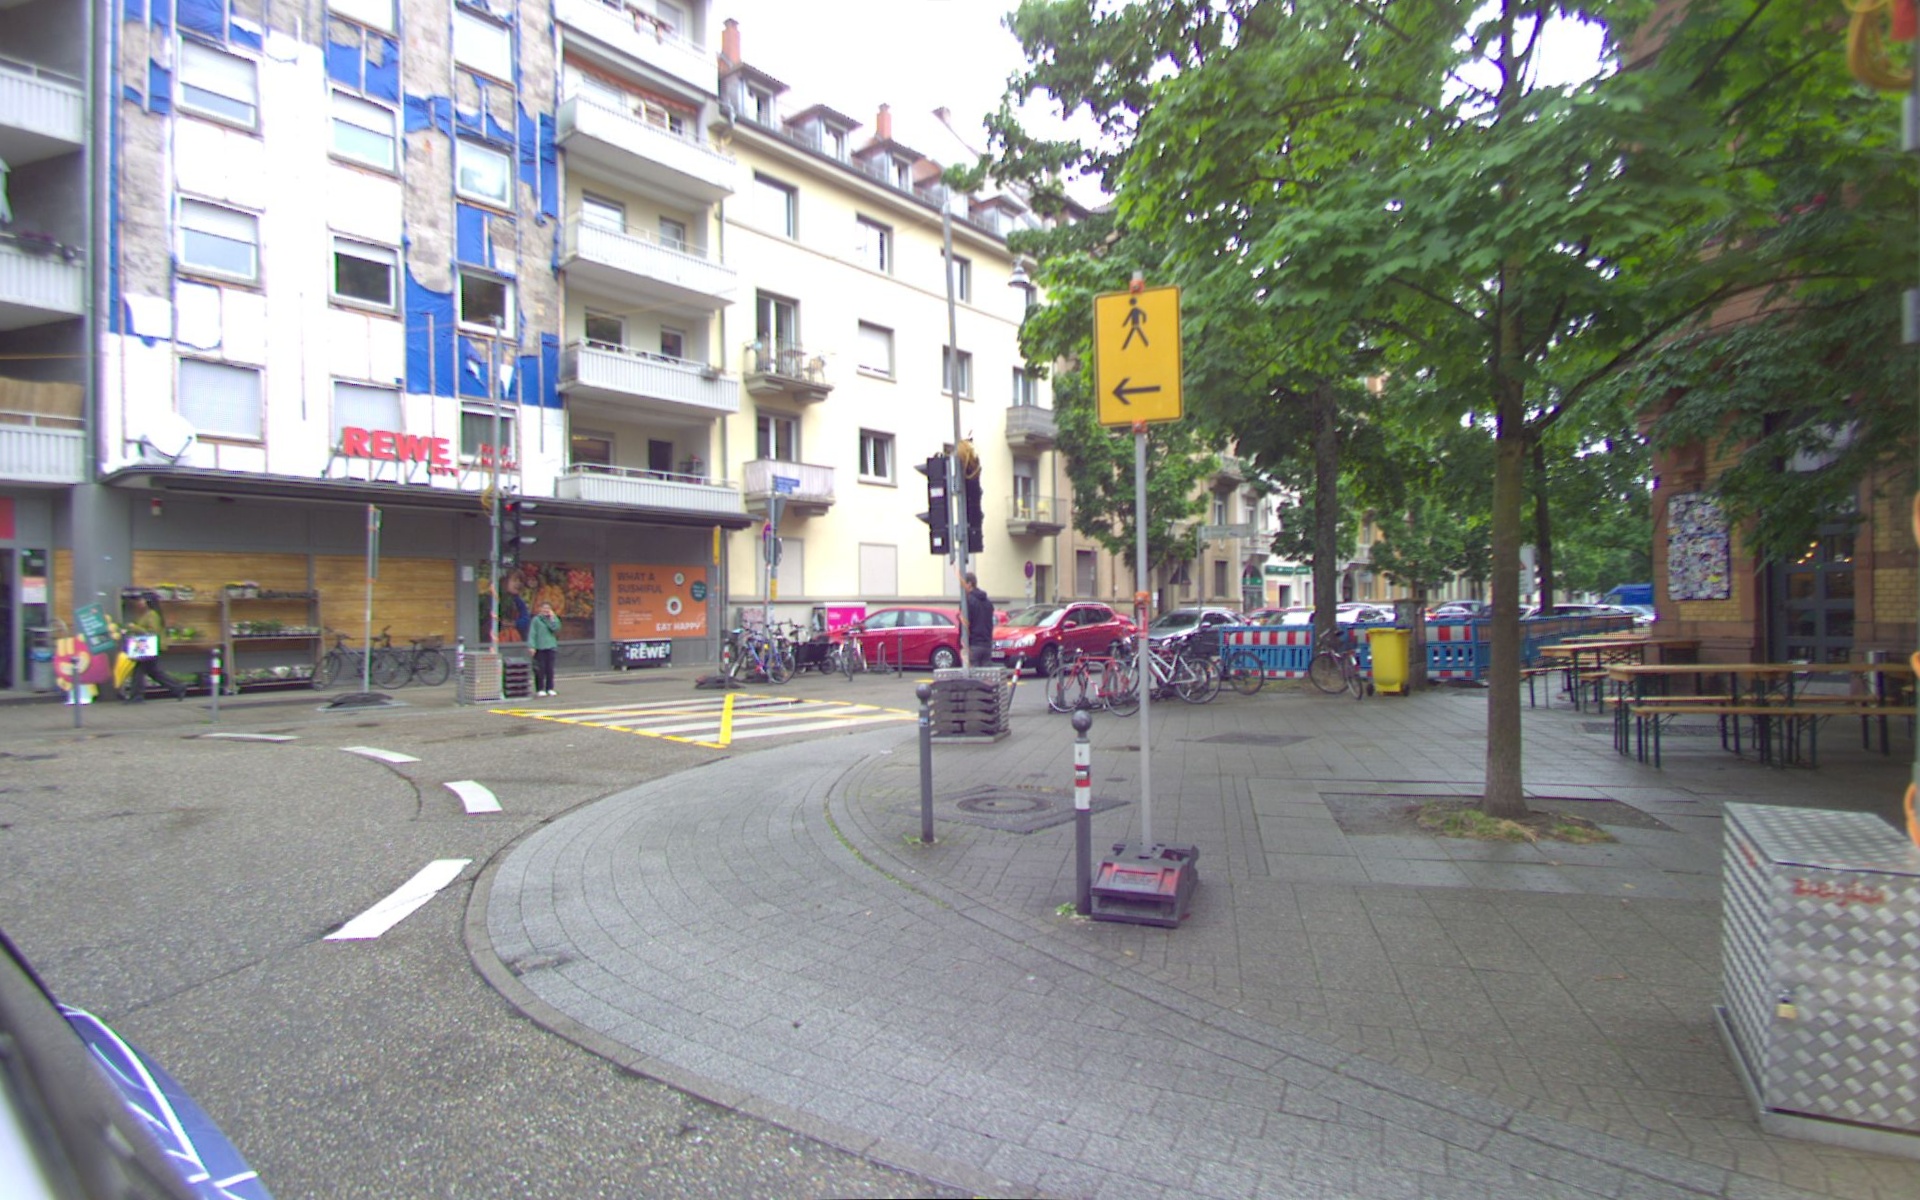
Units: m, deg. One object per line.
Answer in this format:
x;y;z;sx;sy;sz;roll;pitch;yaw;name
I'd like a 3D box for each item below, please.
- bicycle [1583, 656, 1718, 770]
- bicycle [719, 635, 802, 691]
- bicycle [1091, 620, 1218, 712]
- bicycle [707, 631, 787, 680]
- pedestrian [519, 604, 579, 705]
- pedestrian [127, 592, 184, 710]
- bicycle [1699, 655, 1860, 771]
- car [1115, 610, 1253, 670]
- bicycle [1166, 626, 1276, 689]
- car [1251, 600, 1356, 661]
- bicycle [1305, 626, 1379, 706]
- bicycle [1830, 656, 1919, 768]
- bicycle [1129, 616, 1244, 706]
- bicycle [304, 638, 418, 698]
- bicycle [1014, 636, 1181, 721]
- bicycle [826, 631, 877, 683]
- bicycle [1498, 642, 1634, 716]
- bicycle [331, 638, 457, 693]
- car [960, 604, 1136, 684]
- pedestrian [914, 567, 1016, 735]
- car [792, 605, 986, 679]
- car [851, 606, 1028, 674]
5.854;0.926;8.646;0.401;0.821;1.390;-1;-1;10;bicycle
-3.967;1.222;20.003;2.002;0.978;0.581;1;1;45;bicycle
2.892;0.988;15.260;0.580;1.285;2.008;0;-3;-34;bicycle
-4.824;1.247;23.059;0.587;0.978;1.980;1;1;31;bicycle
-6.913;0.891;17.015;0.787;1.628;0.606;0;0;-40;pedestrian
-12.617;0.776;15.870;0.683;1.779;0.866;0;0;-40;pedestrian
6.749;0.898;8.411;0.401;0.821;1.390;-1;-1;10;bicycle
6.268;1.062;28.019;1.843;1.488;4.326;-3;-2;42;car
4.268;0.921;16.653;0.580;0.968;1.726;0;-1;-39;bicycle
11.034;0.942;32.357;1.841;1.811;4.331;-3;-2;38;car
5.805;0.961;15.499;0.735;1.100;2.401;-1;-1;14;bicycle
7.746;0.900;8.185;0.401;0.821;1.390;-1;-1;10;bicycle
3.433;0.935;15.511;0.467;1.285;1.870;0;-3;-34;bicycle
-10.671;1.204;18.082;1.662;0.978;0.570;-1;-1;-20;bicycle
1.834;1.051;13.930;0.851;1.052;2.420;0;-3;-34;bicycle
-2.355;1.223;22.173;0.583;0.978;1.995;0;1;10;bicycle
7.551;0.964;12.687;0.398;0.821;1.551;0;-1;-19;bicycle
-10.562;1.214;18.958;1.967;0.978;0.591;1;-2;-19;bicycle
2.102;0.962;23.145;1.842;1.652;4.328;-3;-3;40;car
0.061;0.618;12.806;0.930;2.029;0.865;0;-1;-40;pedestrian
-1.697;1.023;24.926;4.409;1.693;1.994;-1;-1;10;car
-0.496;1.048;26.989;4.409;1.684;1.994;-1;-1;10;car
